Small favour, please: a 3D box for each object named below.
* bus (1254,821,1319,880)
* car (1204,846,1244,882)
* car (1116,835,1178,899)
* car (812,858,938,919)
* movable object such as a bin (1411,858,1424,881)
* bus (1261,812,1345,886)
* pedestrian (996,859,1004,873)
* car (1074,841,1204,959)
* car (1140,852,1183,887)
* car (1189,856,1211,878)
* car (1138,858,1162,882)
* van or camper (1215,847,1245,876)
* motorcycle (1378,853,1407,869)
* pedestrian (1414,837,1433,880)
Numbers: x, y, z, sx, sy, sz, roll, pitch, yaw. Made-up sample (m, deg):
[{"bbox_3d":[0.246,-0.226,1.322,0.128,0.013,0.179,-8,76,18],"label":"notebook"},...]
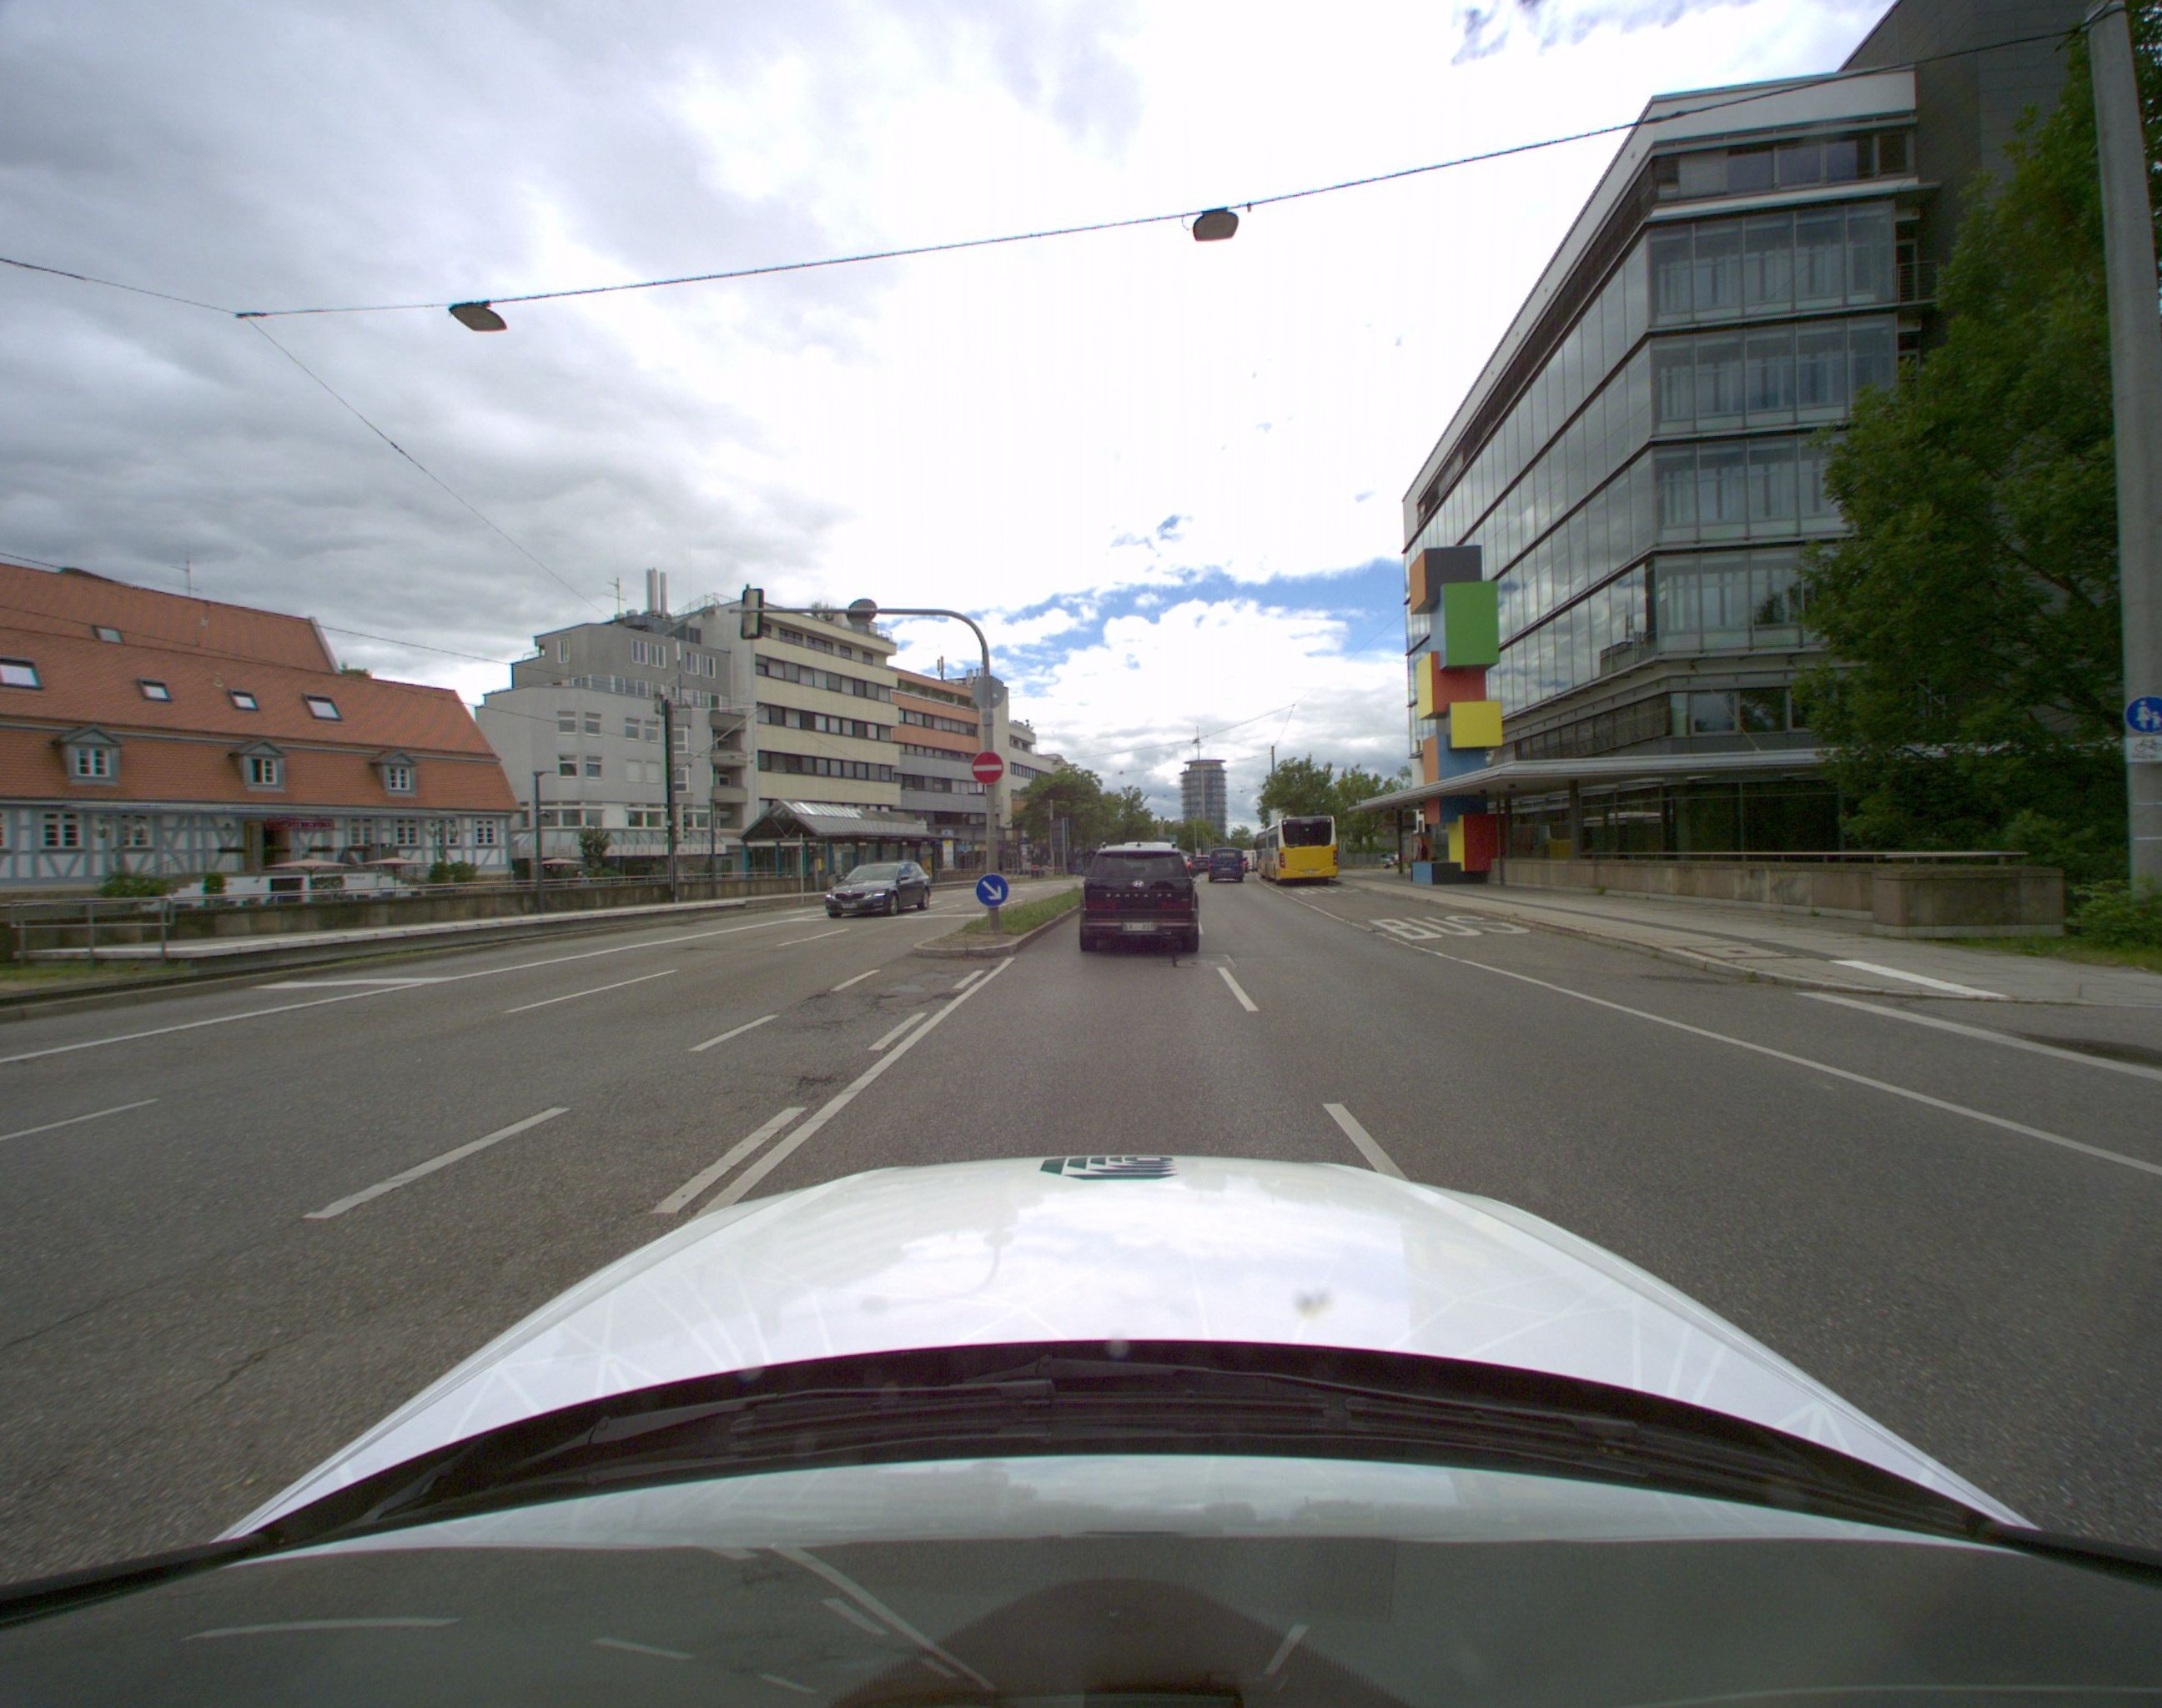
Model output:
[{"bbox_3d":[12.286,-0.188,49.542,2.934,3.111,10.003,-3,-1,10],"label":"bus"},{"bbox_3d":[7.962,0.514,45.667,1.892,1.859,4.718,0,1,6],"label":"car"},{"bbox_3d":[2.205,0.363,27.296,1.893,1.968,4.642,0,1,5],"label":"car"},{"bbox_3d":[-5.569,0.890,22.706,1.788,1.455,4.622,-2,0,7],"label":"car"},{"bbox_3d":[13.226,0.618,32.055,0.354,0.898,0.463,-2,-1,9],"label":"movable object such as a bin"},{"bbox_3d":[10.677,-0.212,40.080,2.948,3.116,9.269,-3,-1,10],"label":"bus"},{"bbox_3d":[-9.938,1.444,99.612,0.724,1.673,0.585,-2,-1,28],"label":"pedestrian"},{"bbox_3d":[0.950,0.645,14.163,1.894,1.731,4.449,0,1,2],"label":"car"},{"bbox_3d":[3.906,0.706,40.205,1.894,1.542,4.713,0,1,3],"label":"car"},{"bbox_3d":[10.722,1.136,73.448,1.891,1.859,4.721,0,1,8],"label":"car"},{"bbox_3d":[6.046,1.347,71.032,1.892,1.929,4.718,0,1,6],"label":"car"},{"bbox_3d":[10.628,0.493,58.155,1.982,1.917,4.420,-1,1,9],"label":"van or camper"},{"bbox_3d":[21.007,0.465,54.942,0.636,1.070,1.762,-2,0,-31],"label":"motorcycle"},{"bbox_3d":[13.715,0.190,32.618,0.521,1.673,0.735,-2,-1,9],"label":"pedestrian"}]
